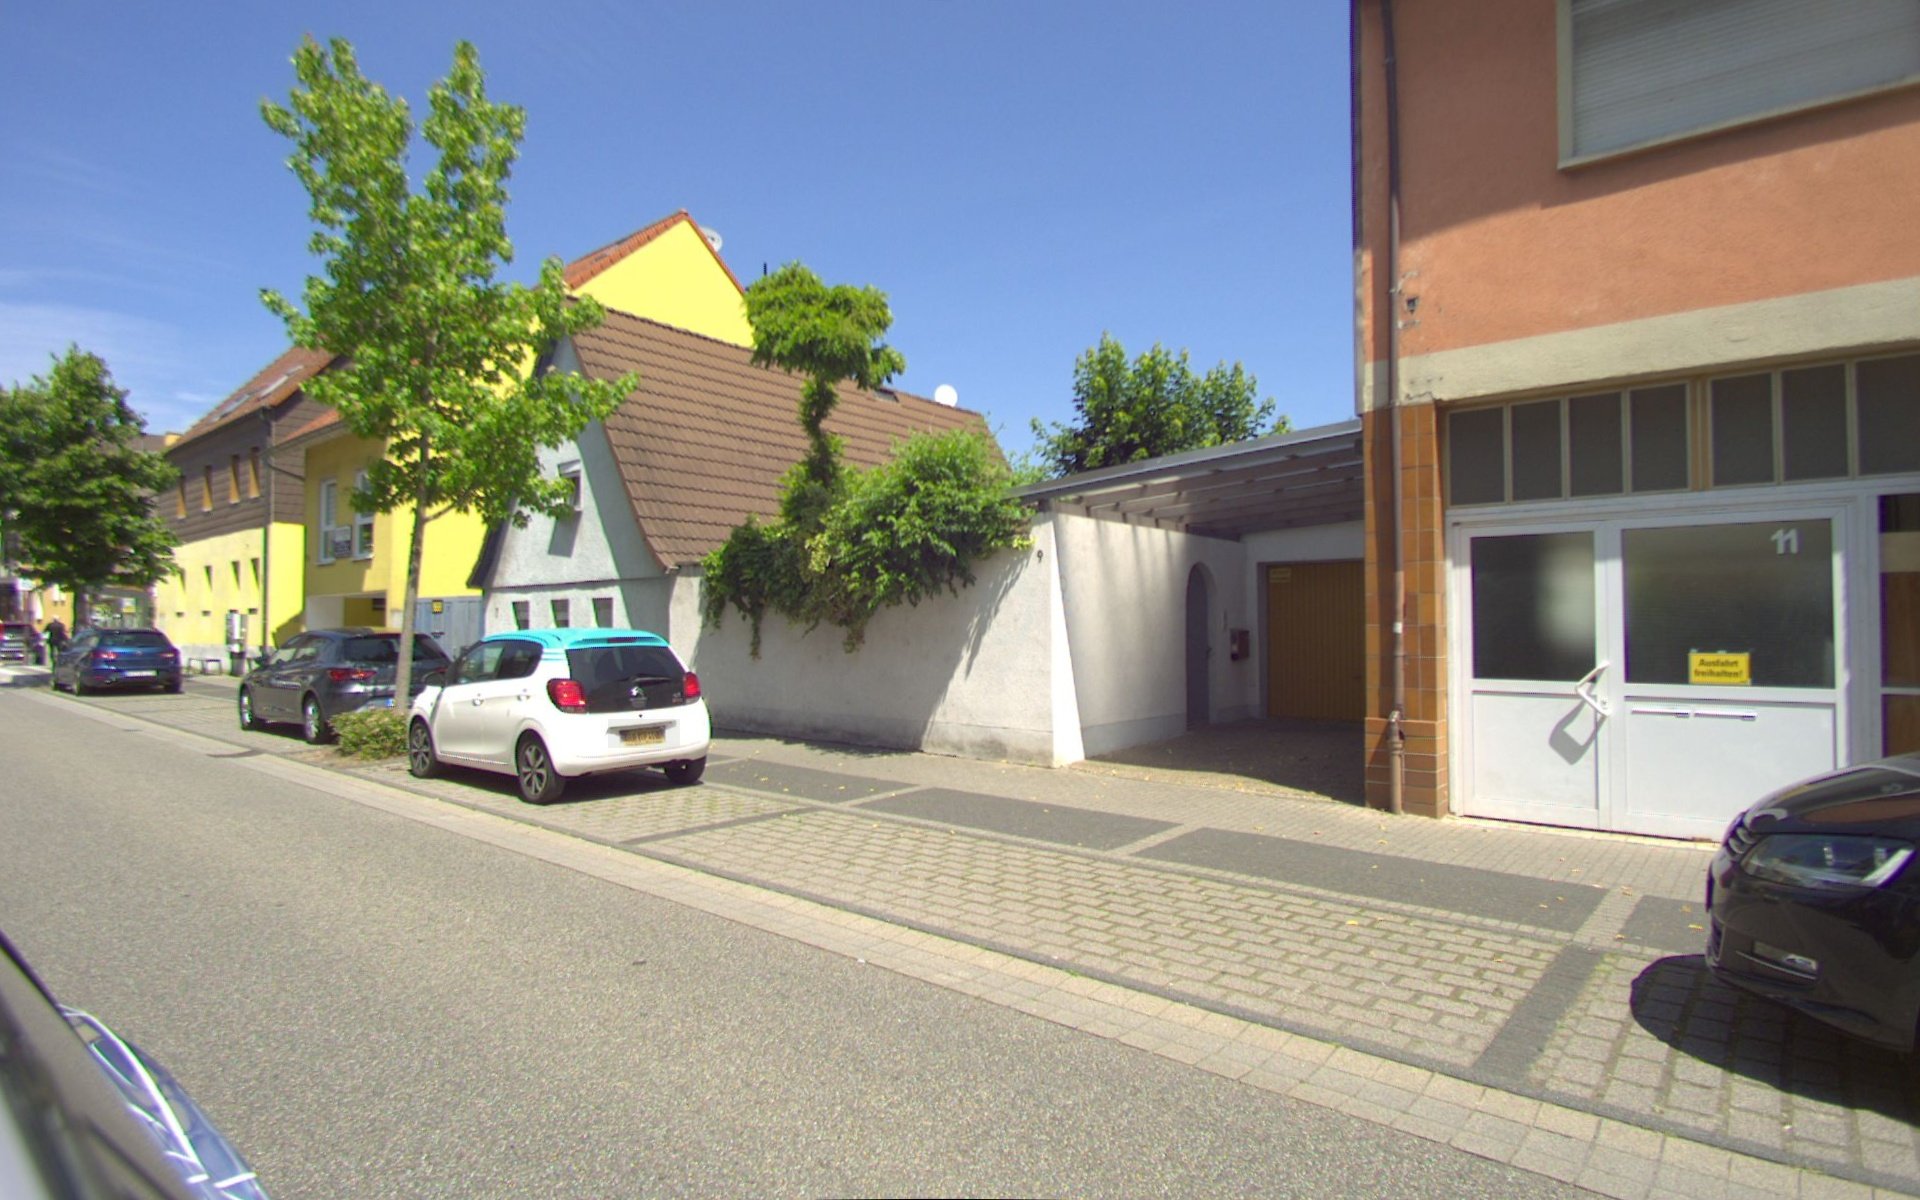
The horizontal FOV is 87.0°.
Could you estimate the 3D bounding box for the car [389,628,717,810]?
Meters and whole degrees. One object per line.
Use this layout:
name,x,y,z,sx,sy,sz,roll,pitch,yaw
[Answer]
car,-4.008,0.993,9.765,3.407,1.441,1.538,-1,-2,41

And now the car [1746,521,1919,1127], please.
car,4.757,0.625,2.381,4.516,1.739,1.757,-1,-2,40

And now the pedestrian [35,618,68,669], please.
pedestrian,-29.303,1.396,32.641,0.770,1.614,0.655,-2,-3,41

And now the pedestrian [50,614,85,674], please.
pedestrian,-24.394,1.184,27.656,0.528,1.614,0.623,-2,-3,41

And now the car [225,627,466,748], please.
car,-8.568,1.110,13.977,4.096,1.441,1.628,-1,-3,41

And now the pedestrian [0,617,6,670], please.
pedestrian,-30.616,1.366,31.935,0.624,1.668,0.635,-2,-3,40

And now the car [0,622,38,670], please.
car,-33.259,1.567,34.863,4.155,1.587,1.731,-1,-2,41

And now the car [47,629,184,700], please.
car,-18.553,1.345,22.178,4.155,1.418,1.639,-1,-2,41

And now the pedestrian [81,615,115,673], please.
pedestrian,-24.455,1.247,28.709,0.528,1.614,0.623,-2,-3,41
